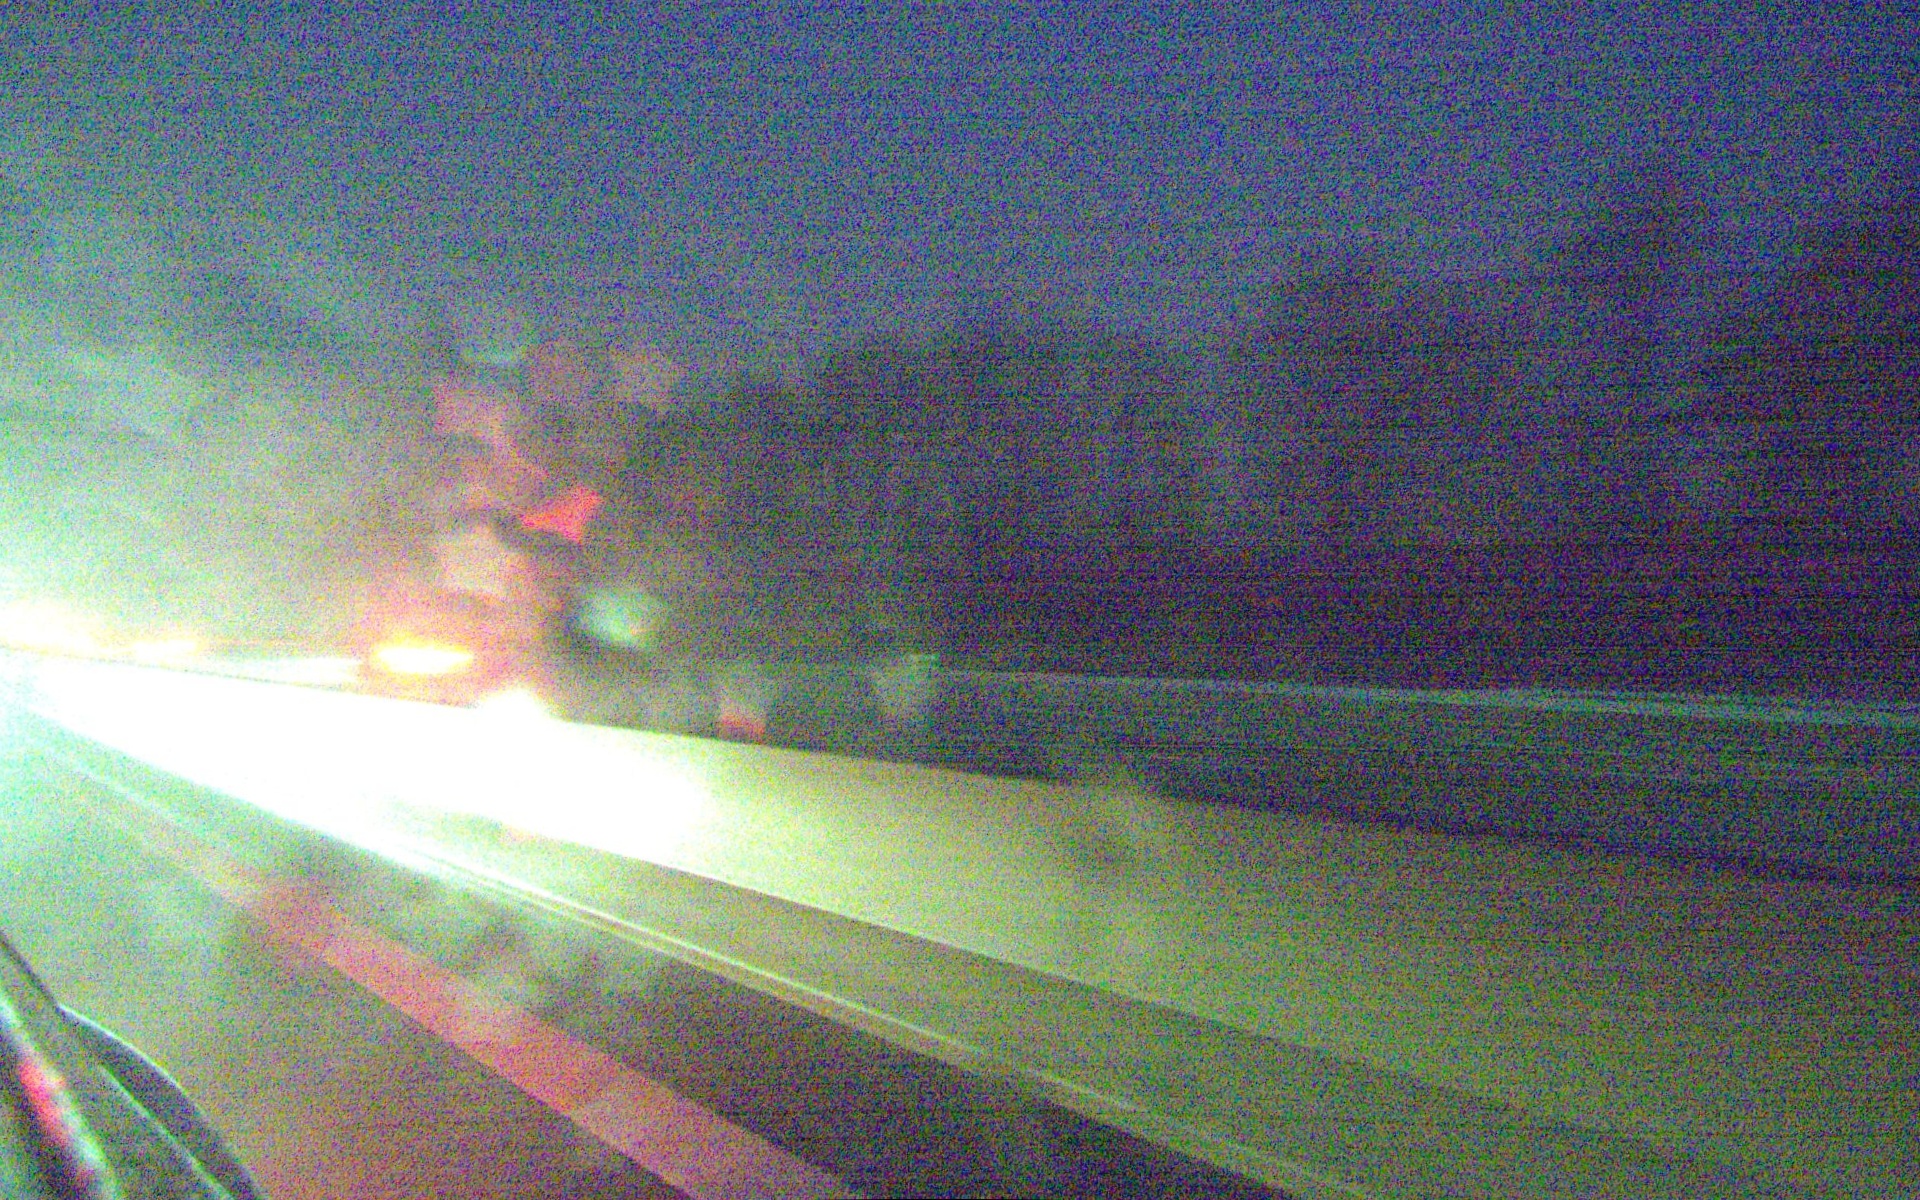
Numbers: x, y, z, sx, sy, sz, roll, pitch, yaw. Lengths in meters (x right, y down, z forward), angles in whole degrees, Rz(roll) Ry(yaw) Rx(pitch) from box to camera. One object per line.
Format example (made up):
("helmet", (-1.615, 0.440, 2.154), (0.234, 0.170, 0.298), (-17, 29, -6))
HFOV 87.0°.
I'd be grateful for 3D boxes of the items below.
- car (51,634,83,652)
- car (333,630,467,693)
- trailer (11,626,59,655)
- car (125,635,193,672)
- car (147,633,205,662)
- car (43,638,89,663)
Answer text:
("car", (-90.635, 4.358, 102.662), (4.505, 1.697, 1.896), (-1, -3, 42))
("car", (-17.695, 1.933, 31.868), (4.954, 1.774, 1.974), (-3, -1, 39))
("trailer", (-112.504, 4.965, 122.946), (13.153, 3.321, 3.041), (-3, -4, 42))
("car", (-41.917, 2.824, 52.928), (3.995, 1.774, 1.974), (-3, -1, 39))
("car", (-53.726, 3.280, 69.321), (5.088, 1.829, 1.974), (-3, -1, 39))
("car", (-66.916, 3.793, 75.734), (4.651, 1.774, 1.973), (-3, -1, 41))
